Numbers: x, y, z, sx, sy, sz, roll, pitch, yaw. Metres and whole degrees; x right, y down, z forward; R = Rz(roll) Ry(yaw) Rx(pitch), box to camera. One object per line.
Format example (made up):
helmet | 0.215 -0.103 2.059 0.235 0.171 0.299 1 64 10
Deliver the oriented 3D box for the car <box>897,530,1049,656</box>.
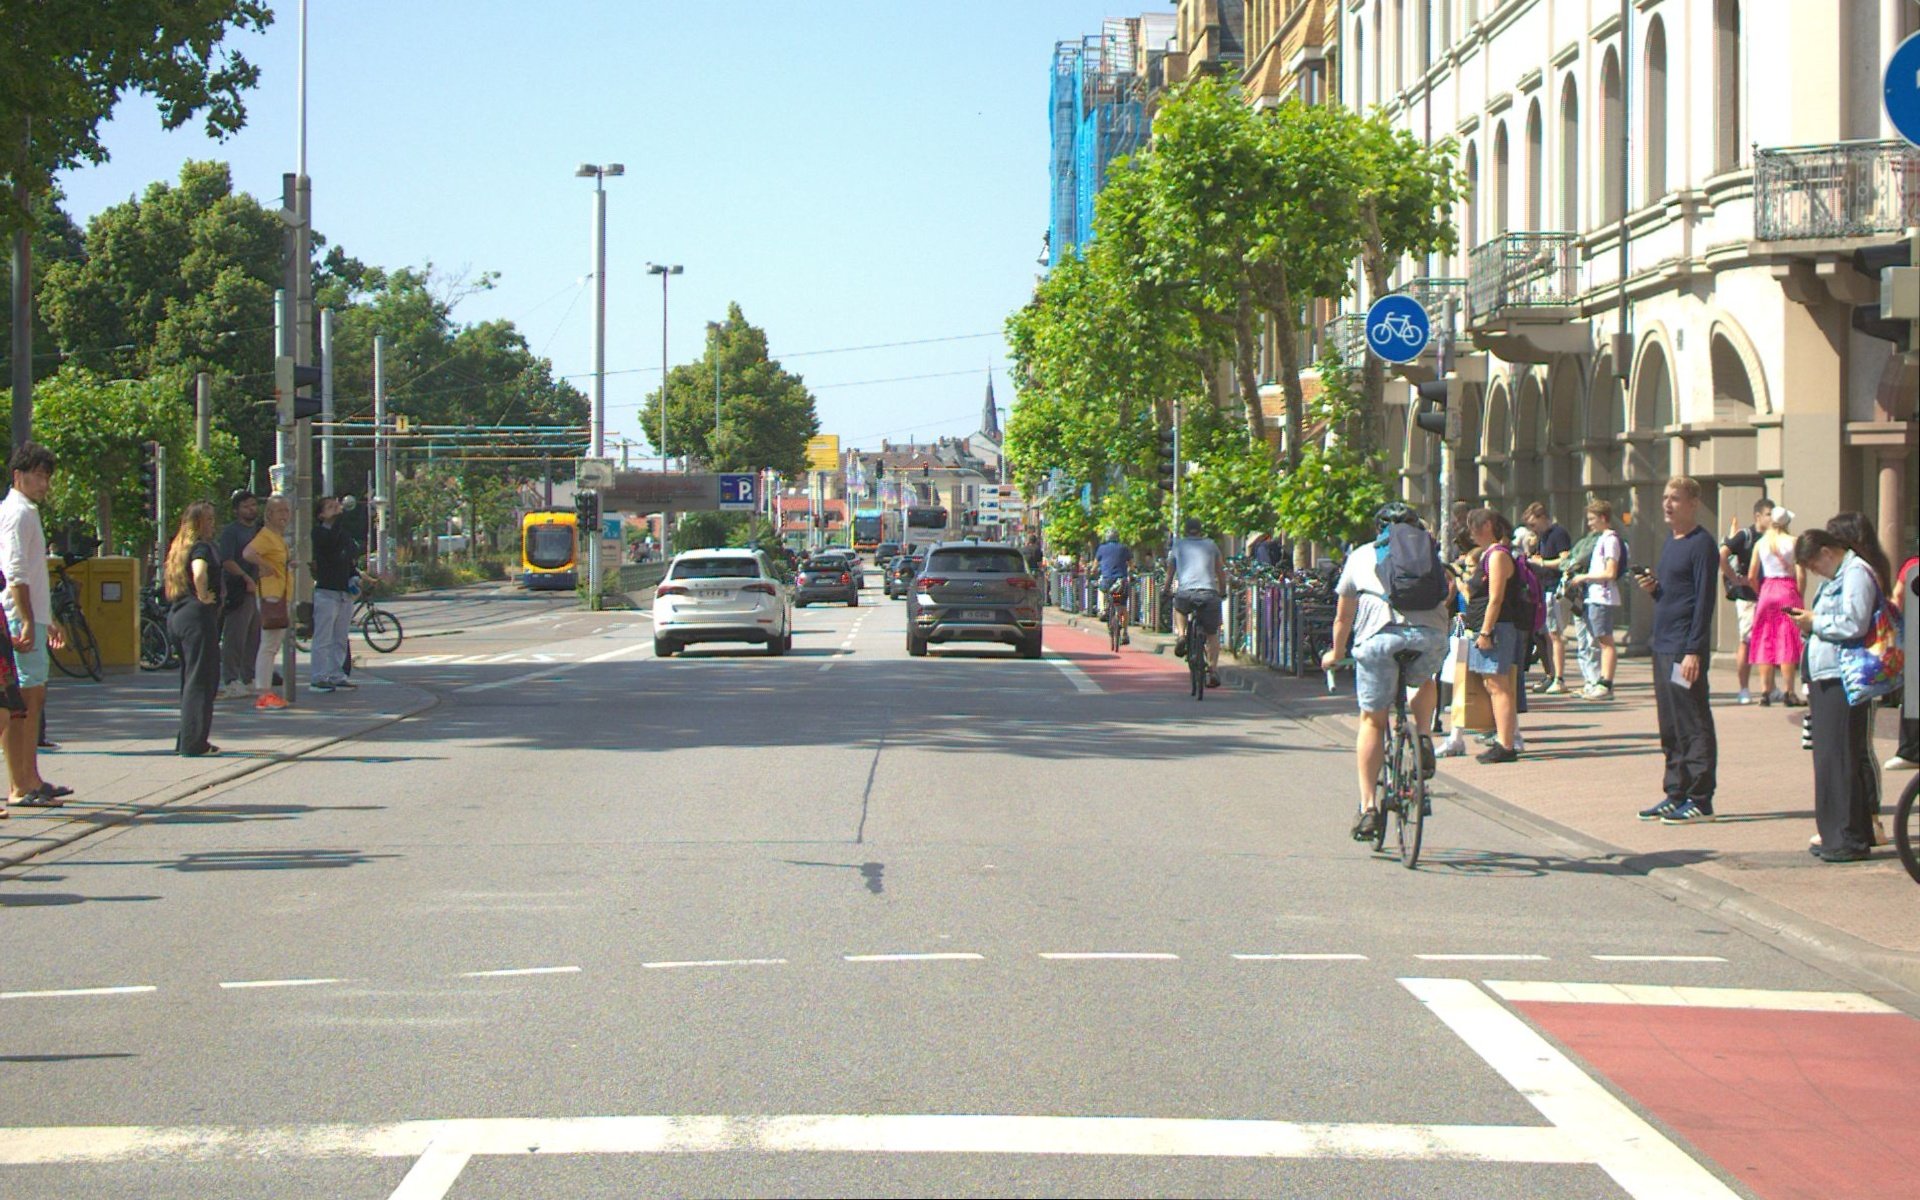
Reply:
car | 0.137 -0.131 46.792 1.845 1.554 4.001 -2 1 -2

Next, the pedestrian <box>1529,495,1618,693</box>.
pedestrian | 5.721 -0.056 32.078 0.610 1.800 0.678 -3 1 -2

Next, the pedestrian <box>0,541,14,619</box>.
pedestrian | -21.222 -0.451 75.348 0.710 1.701 0.655 1 0 15

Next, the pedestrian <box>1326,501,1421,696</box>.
pedestrian | 4.128 -0.018 34.274 0.688 1.891 0.611 -3 1 26

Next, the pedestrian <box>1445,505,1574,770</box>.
pedestrian | 3.762 0.252 23.577 0.671 1.763 0.678 -3 0 -2

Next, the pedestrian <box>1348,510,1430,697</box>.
pedestrian | 3.974 0.030 31.858 0.582 1.694 0.605 -3 1 -2

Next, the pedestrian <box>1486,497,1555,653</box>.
pedestrian | 6.443 -0.288 39.532 0.675 1.785 0.612 0 1 -1

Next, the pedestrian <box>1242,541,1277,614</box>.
pedestrian | 6.423 -0.482 73.812 0.675 1.567 0.612 0 1 -2

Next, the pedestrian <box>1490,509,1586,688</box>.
pedestrian | 5.581 -0.023 33.203 0.610 1.699 0.678 -1 1 -29

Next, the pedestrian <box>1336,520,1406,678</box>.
pedestrian | 4.241 -0.017 35.450 0.531 1.589 0.611 1 4 26

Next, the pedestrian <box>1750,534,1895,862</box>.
pedestrian | 4.082 0.455 16.300 0.523 1.516 0.641 -1 0 2

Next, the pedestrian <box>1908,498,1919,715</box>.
pedestrian | 8.291 0.054 28.545 0.610 1.800 0.678 0 0 -2

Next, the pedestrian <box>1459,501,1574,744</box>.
pedestrian | 4.153 0.161 25.669 0.610 1.753 0.678 -4 1 -2

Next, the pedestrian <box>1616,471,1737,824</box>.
pedestrian | 3.916 0.252 18.815 0.523 1.891 0.641 -1 0 2

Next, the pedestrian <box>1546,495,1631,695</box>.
pedestrian | 5.720 -0.048 31.306 0.610 1.800 0.678 0 0 -2

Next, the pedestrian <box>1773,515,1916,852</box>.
pedestrian | 4.354 0.403 16.944 0.549 1.625 0.589 -1 0 2

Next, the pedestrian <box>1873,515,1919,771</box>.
pedestrian | 6.173 0.262 21.887 0.522 1.606 0.641 -1 0 0

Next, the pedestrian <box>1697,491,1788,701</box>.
pedestrian | 6.870 -0.038 30.196 0.610 1.817 0.678 0 0 -2

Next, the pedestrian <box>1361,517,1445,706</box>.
pedestrian | 4.016 0.102 31.185 0.582 1.668 0.605 -3 1 -2

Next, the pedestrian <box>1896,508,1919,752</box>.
pedestrian | 6.571 0.192 22.816 0.522 1.603 0.641 -1 0 0

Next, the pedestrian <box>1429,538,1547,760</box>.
pedestrian | 3.728 0.337 24.306 0.610 1.510 0.678 -4 1 -2

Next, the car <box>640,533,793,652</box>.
car | -3.331 -0.137 47.640 1.845 1.554 4.000 -1 1 0

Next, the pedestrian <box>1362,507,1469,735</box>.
pedestrian | 3.575 0.160 27.011 0.610 1.733 0.678 -4 1 -2

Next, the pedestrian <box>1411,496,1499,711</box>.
pedestrian | 4.225 0.026 29.361 0.610 1.817 0.678 0 0 -2

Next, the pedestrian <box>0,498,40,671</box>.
pedestrian | -9.967 -0.161 35.260 0.679 1.758 0.765 1 0 29

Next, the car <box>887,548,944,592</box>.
car | -1.507 -1.008 114.816 1.845 1.409 4.000 0 1 -2

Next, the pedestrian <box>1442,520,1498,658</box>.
pedestrian | 6.627 -0.145 44.703 0.628 1.785 0.612 0 1 -1

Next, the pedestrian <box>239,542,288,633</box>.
pedestrian | -12.557 -0.228 61.994 0.771 1.623 0.612 0 0 -1

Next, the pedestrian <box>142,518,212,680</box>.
pedestrian | -8.403 -0.010 36.894 0.610 1.719 0.678 0 0 -2

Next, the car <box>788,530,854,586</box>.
car | -3.987 -1.214 98.948 1.845 1.554 4.000 0 1 -2

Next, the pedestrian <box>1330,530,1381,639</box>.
pedestrian | 6.053 -0.233 52.683 0.675 1.659 0.612 0 1 -2

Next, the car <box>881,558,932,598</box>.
car | -1.986 -0.816 126.602 1.845 1.409 4.000 0 1 -2
